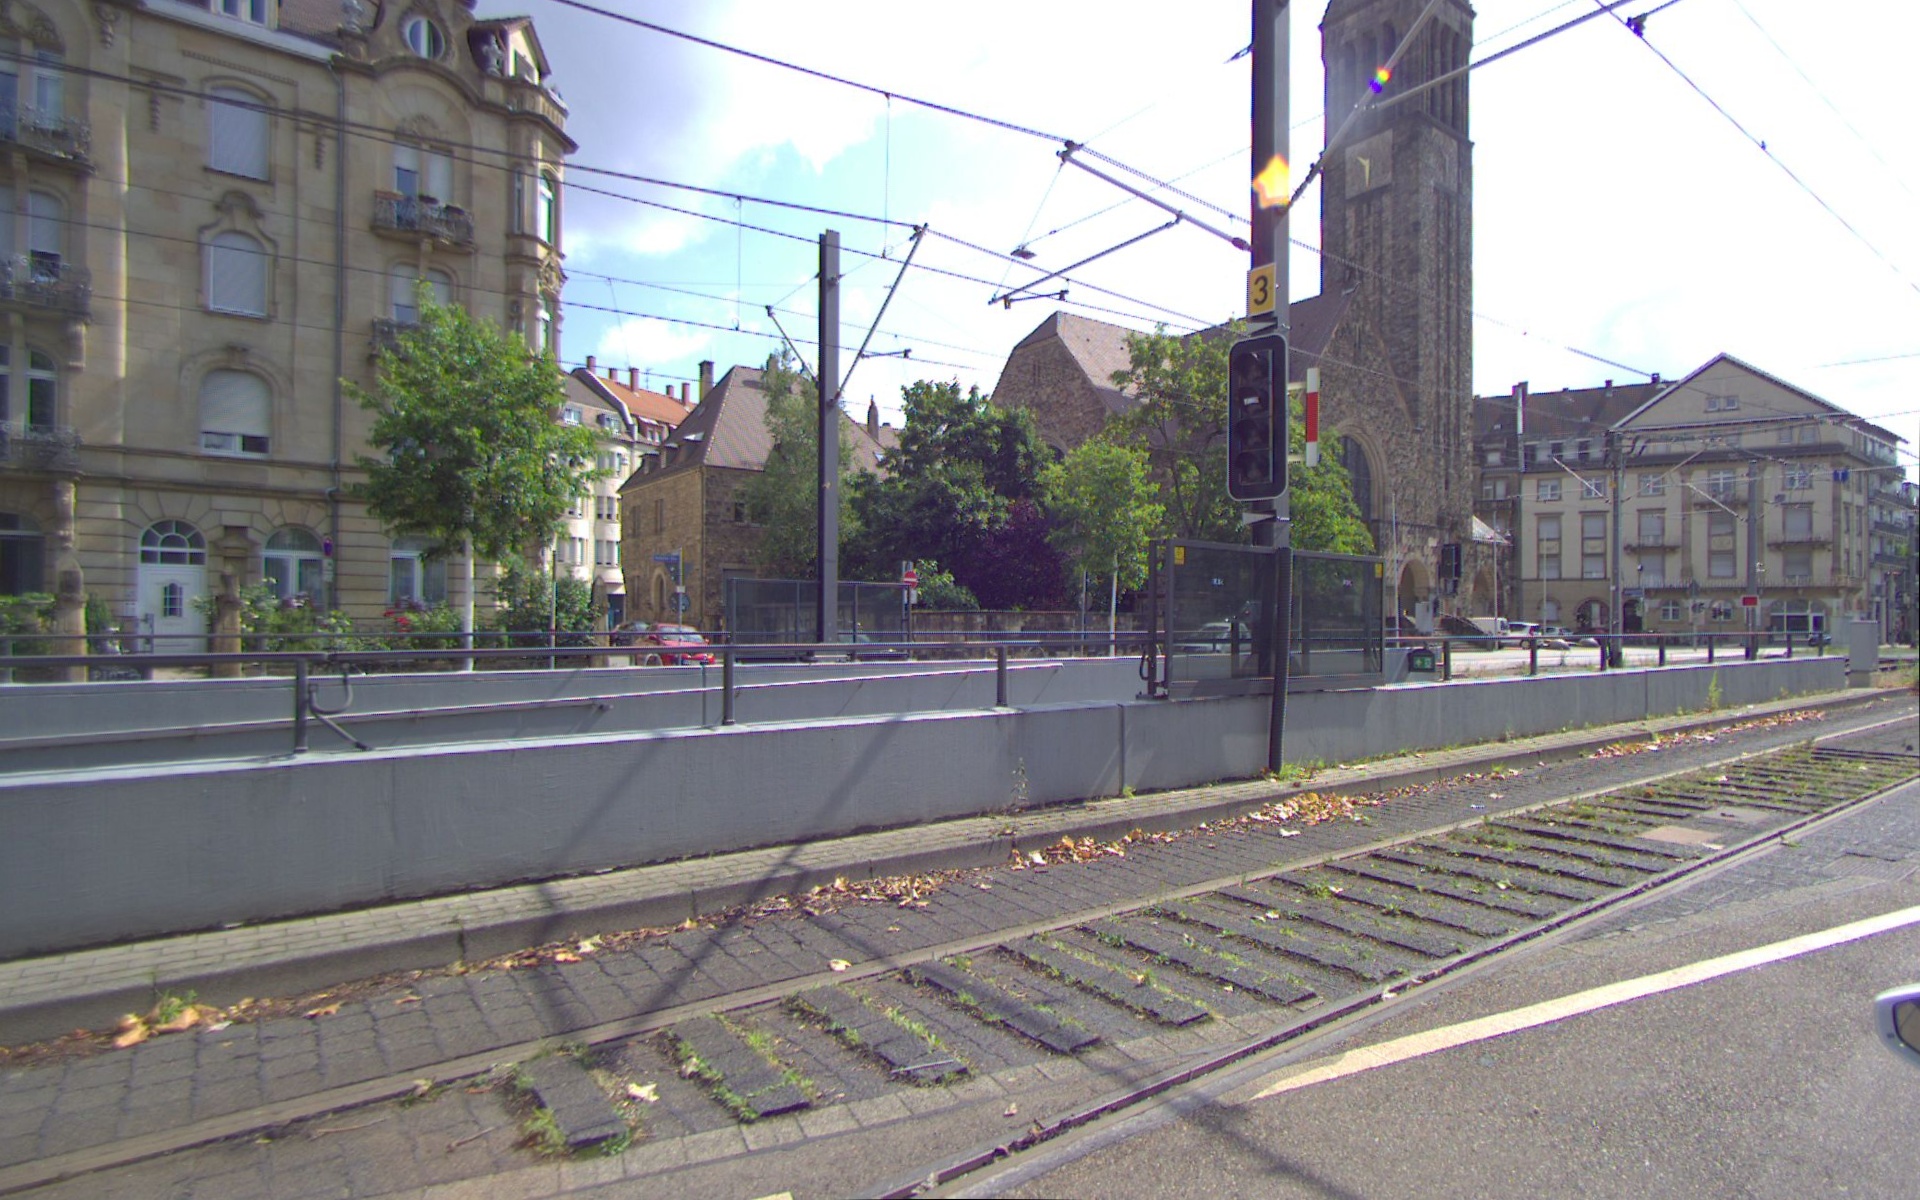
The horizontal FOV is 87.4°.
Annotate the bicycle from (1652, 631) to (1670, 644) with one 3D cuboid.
[{"bbox_3d":[58.914,3.114,84.474,0.791,1.067,2.564,0,-1,24],"label":"bicycle"}]

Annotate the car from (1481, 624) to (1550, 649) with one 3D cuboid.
[{"bbox_3d":[33.804,2.206,61.223,1.838,1.522,3.241,1,-2,-37],"label":"car"}]

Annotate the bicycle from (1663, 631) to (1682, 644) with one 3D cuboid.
[{"bbox_3d":[59.674,3.126,84.105,0.791,1.067,2.564,0,-1,24],"label":"bicycle"}]

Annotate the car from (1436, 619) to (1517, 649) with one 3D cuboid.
[{"bbox_3d":[30.764,2.007,59.895,1.879,1.772,3.839,1,-2,-39],"label":"car"}]

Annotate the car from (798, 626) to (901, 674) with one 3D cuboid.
[{"bbox_3d":[-3.720,1.614,33.217,1.707,1.483,3.936,1,-2,-36],"label":"car"}]

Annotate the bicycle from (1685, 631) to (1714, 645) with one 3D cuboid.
[{"bbox_3d":[61.253,3.141,83.190,2.531,1.067,0.801,1,-1,-25],"label":"bicycle"}]

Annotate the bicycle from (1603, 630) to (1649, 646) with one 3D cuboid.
[{"bbox_3d":[56.208,3.193,84.819,0.983,1.270,3.306,1,-1,-19],"label":"bicycle"}]

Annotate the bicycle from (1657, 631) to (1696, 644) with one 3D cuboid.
[{"bbox_3d":[58.879,3.095,82.570,2.518,1.067,0.681,-1,-1,27],"label":"bicycle"}]

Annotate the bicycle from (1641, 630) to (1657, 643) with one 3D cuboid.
[{"bbox_3d":[58.204,3.103,84.868,0.728,1.067,2.564,0,-1,24],"label":"bicycle"}]

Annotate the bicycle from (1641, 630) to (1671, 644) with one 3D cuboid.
[{"bbox_3d":[57.173,3.059,82.552,1.937,1.129,0.487,0,-1,18],"label":"bicycle"}]

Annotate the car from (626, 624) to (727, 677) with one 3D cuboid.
[{"bbox_3d":[-8.610,1.468,30.304,1.912,1.483,3.759,1,-2,-33],"label":"car"}]

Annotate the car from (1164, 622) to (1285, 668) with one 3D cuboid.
[{"bbox_3d":[9.408,1.552,35.594,4.375,1.524,1.916,1,-2,-38],"label":"car"}]

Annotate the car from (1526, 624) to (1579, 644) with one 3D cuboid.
[{"bbox_3d":[51.620,2.949,87.612,1.771,1.661,3.992,0,-1,-11],"label":"car"}]

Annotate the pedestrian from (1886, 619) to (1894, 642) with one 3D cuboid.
[{"bbox_3d":[81.955,2.679,88.549,0.416,2.040,0.473,1,-1,-41],"label":"pedestrian"}]

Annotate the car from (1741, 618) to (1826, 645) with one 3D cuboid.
[{"bbox_3d":[63.201,2.408,77.197,4.719,2.040,1.997,-1,-1,29],"label":"car"}]

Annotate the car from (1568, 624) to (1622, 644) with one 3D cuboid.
[{"bbox_3d":[54.191,2.912,85.832,1.961,1.696,3.999,0,-1,-3],"label":"car"}]
